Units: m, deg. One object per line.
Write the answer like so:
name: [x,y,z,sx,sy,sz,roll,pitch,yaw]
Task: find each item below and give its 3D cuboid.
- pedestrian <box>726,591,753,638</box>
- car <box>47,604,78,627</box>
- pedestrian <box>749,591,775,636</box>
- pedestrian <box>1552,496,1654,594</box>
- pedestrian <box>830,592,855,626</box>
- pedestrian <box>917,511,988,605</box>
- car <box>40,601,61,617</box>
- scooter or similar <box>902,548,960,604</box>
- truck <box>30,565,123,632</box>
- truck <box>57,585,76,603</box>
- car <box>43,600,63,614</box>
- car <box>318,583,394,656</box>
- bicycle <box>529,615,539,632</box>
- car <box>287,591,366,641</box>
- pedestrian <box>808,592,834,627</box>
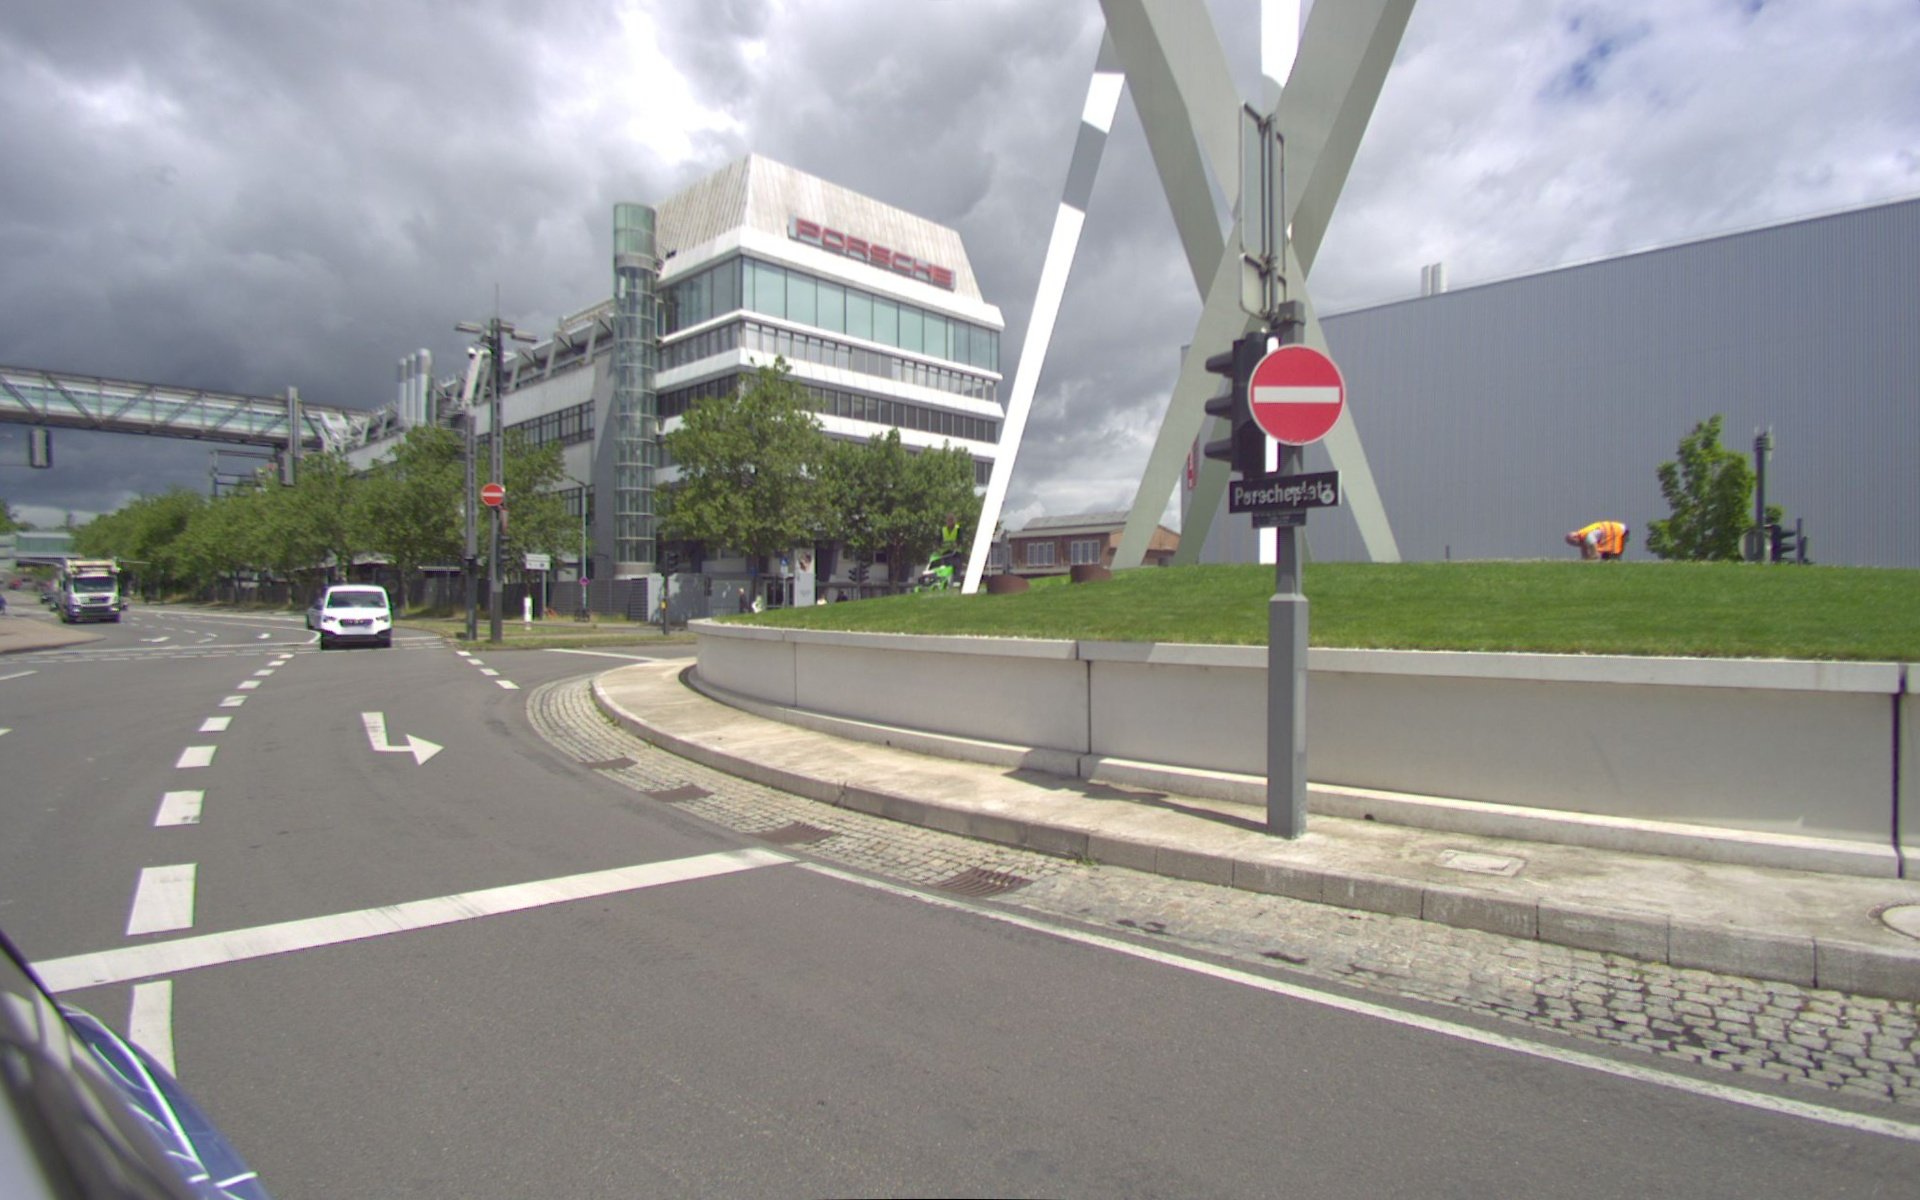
pedestrian: [-10.066,0.651,46.184,0.939,2.070,0.954,-1,1,-28]
car: [-85.897,1.457,96.821,4.714,1.970,1.846,1,2,45]
pedestrian: [-9.254,0.631,47.279,0.939,2.070,0.954,-1,1,-28]
pedestrian: [10.161,-0.842,16.016,0.841,1.417,0.968,6,-2,-24]
pedestrian: [-6.222,0.464,53.549,1.031,1.787,0.857,0,1,30]
pedestrian: [-0.133,-0.836,20.992,0.982,1.831,1.274,0,-2,27]
car: [-123.023,1.196,136.904,4.714,1.970,1.846,1,2,45]
scooter or similar: [-0.552,-0.444,19.609,0.546,1.033,1.393,-2,-1,24]
truck: [-55.564,-0.064,63.491,10.731,3.914,2.679,0,0,40]
truck: [-164.600,-1.162,186.432,2.423,3.152,7.251,-1,1,-43]
car: [-136.130,1.073,151.854,4.714,1.970,1.846,1,2,45]
car: [-18.056,0.576,30.400,1.795,2.029,4.404,0,-1,-29]
bicycle: [-26.644,1.490,63.289,0.292,1.013,1.255,-1,1,-36]
car: [-27.677,0.637,44.179,4.714,1.970,1.846,1,2,45]
pedestrian: [-7.247,0.491,52.717,1.031,1.787,0.857,0,1,30]
